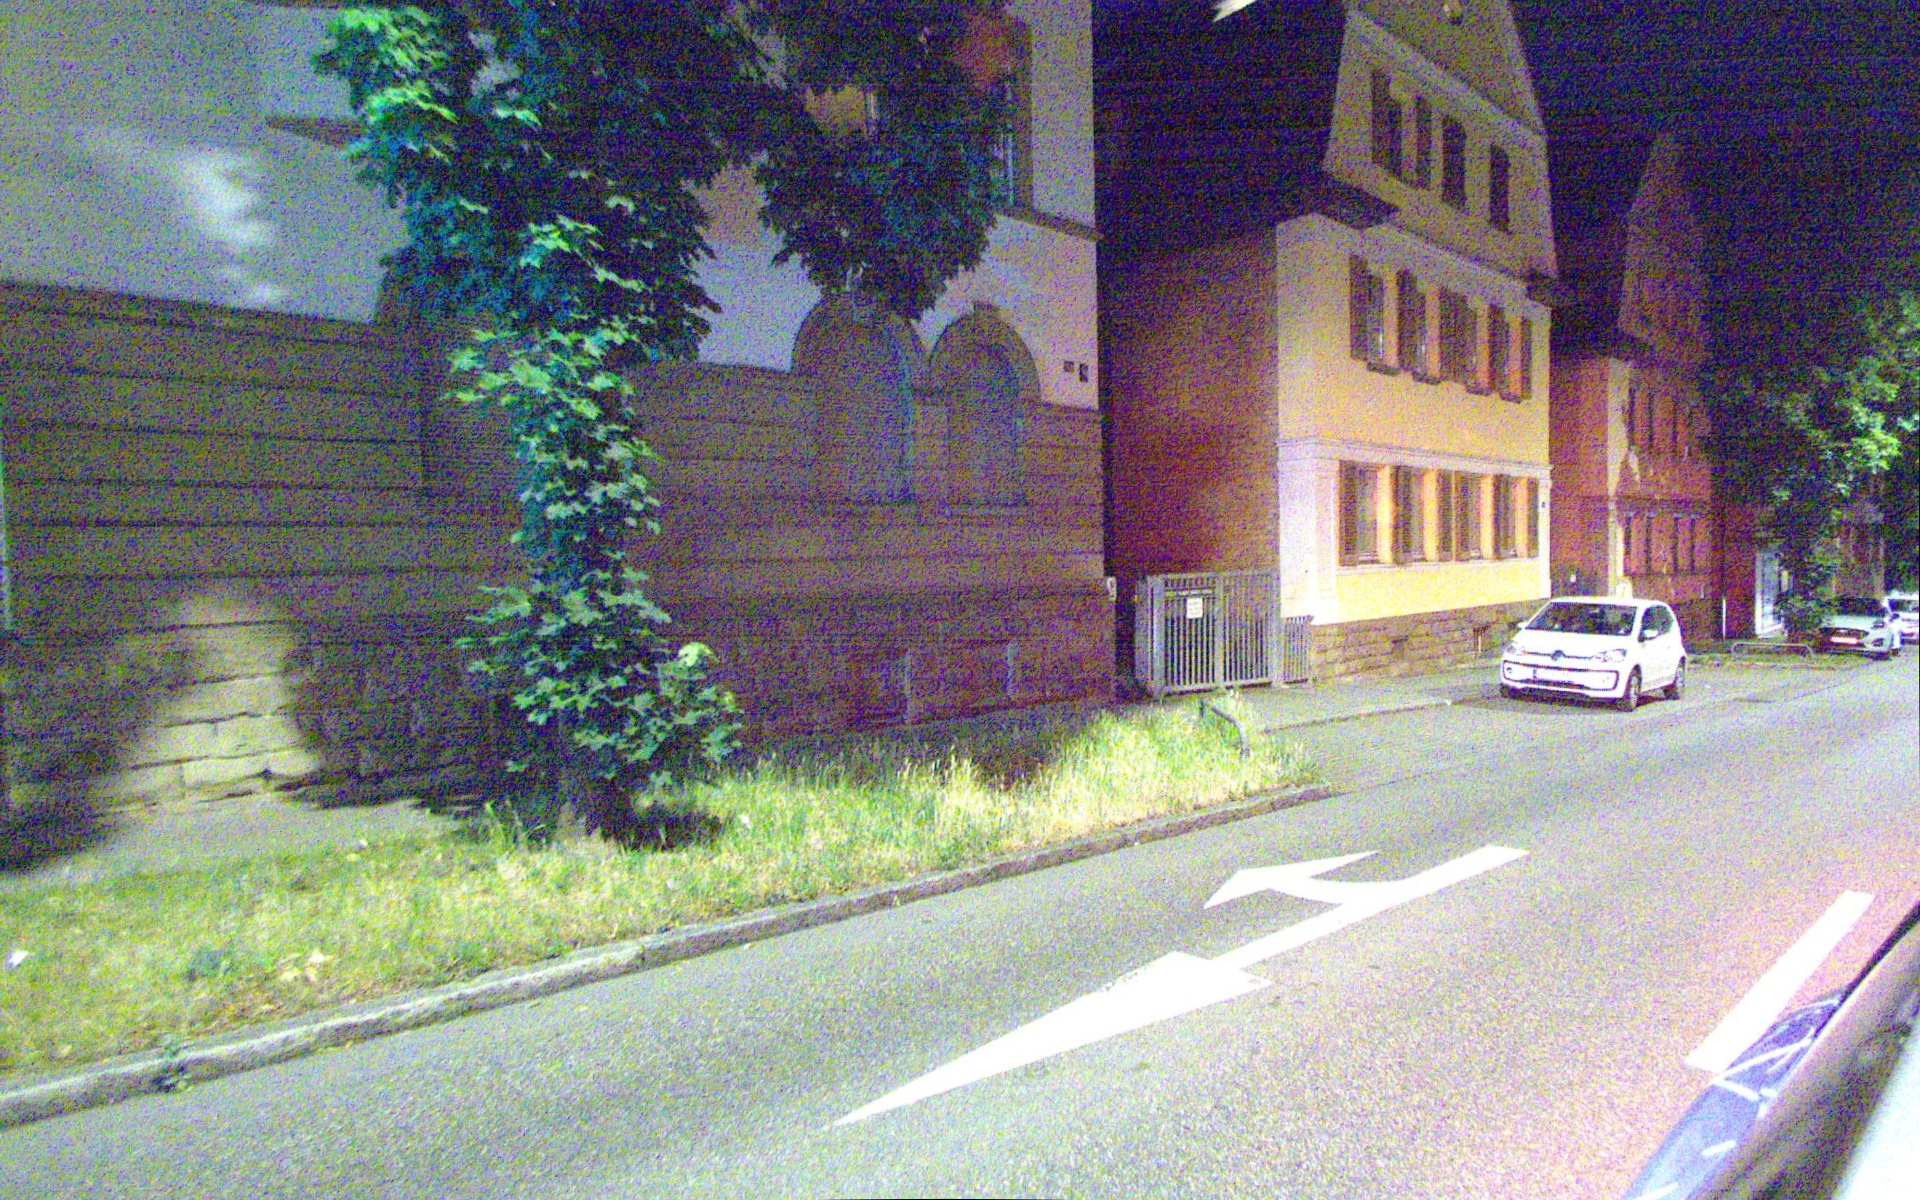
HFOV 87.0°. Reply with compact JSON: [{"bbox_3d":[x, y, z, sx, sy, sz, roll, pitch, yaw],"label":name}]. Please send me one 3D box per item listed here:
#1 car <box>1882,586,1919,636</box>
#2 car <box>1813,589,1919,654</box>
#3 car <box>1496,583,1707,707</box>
[{"bbox_3d":[33.535,0.358,35.142,4.107,1.673,1.850,0,0,-42],"label":"car"},{"bbox_3d":[23.612,0.499,26.284,3.824,1.516,1.740,0,2,-43],"label":"car"},{"bbox_3d":[9.271,0.561,14.535,3.425,1.527,1.610,0,2,-41],"label":"car"}]
